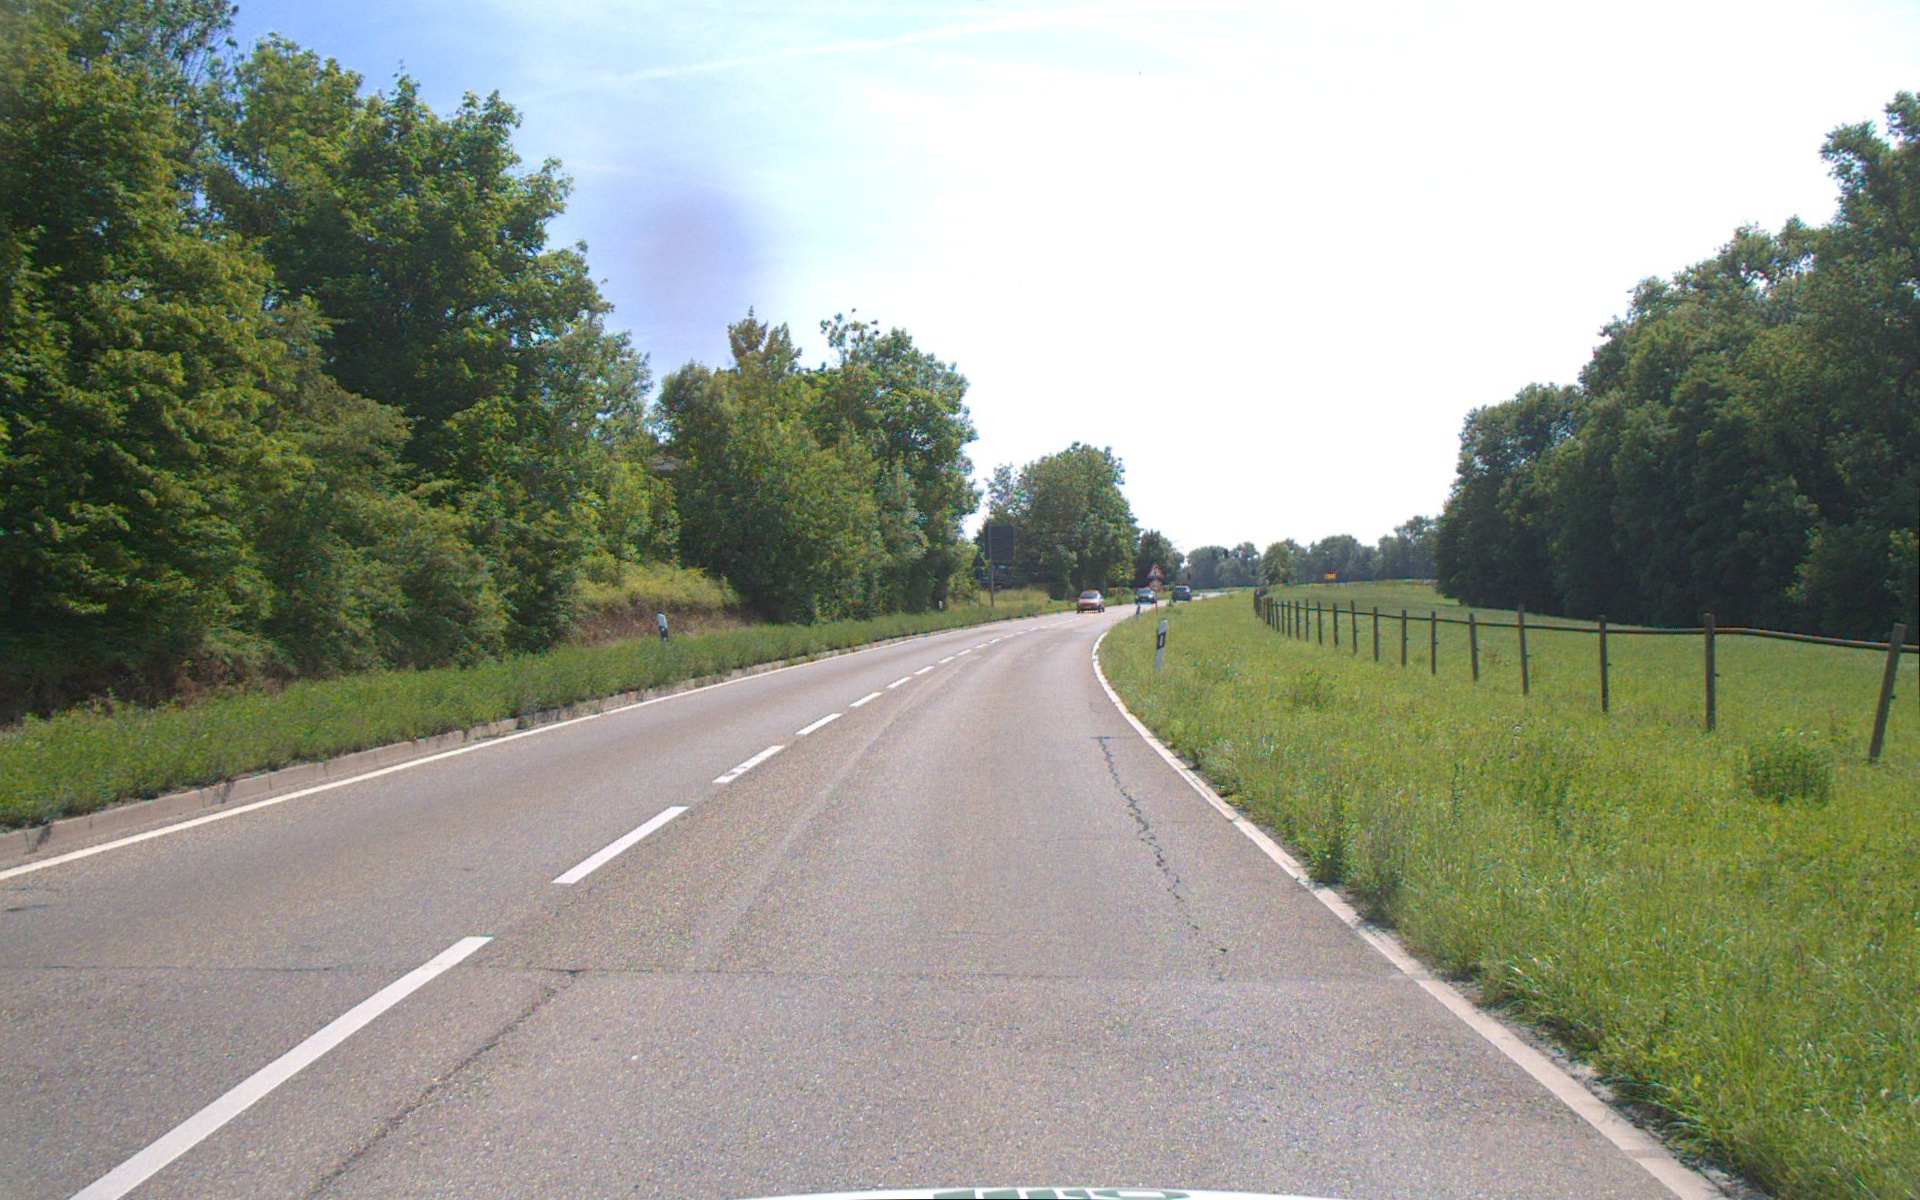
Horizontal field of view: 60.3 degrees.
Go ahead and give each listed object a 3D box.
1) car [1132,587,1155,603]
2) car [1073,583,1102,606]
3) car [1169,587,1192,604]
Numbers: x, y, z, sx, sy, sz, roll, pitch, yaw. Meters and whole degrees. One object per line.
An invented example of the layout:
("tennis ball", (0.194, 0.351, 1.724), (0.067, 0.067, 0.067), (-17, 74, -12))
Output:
("car", (17.358, -0.508, 156.437), (1.782, 1.494, 4.004), (1, 0, 11))
("car", (8.372, -0.357, 108.436), (1.782, 1.494, 4.003), (1, 0, 6))
("car", (21.248, -0.430, 159.052), (1.951, 1.601, 4.003), (1, 0, 11))
